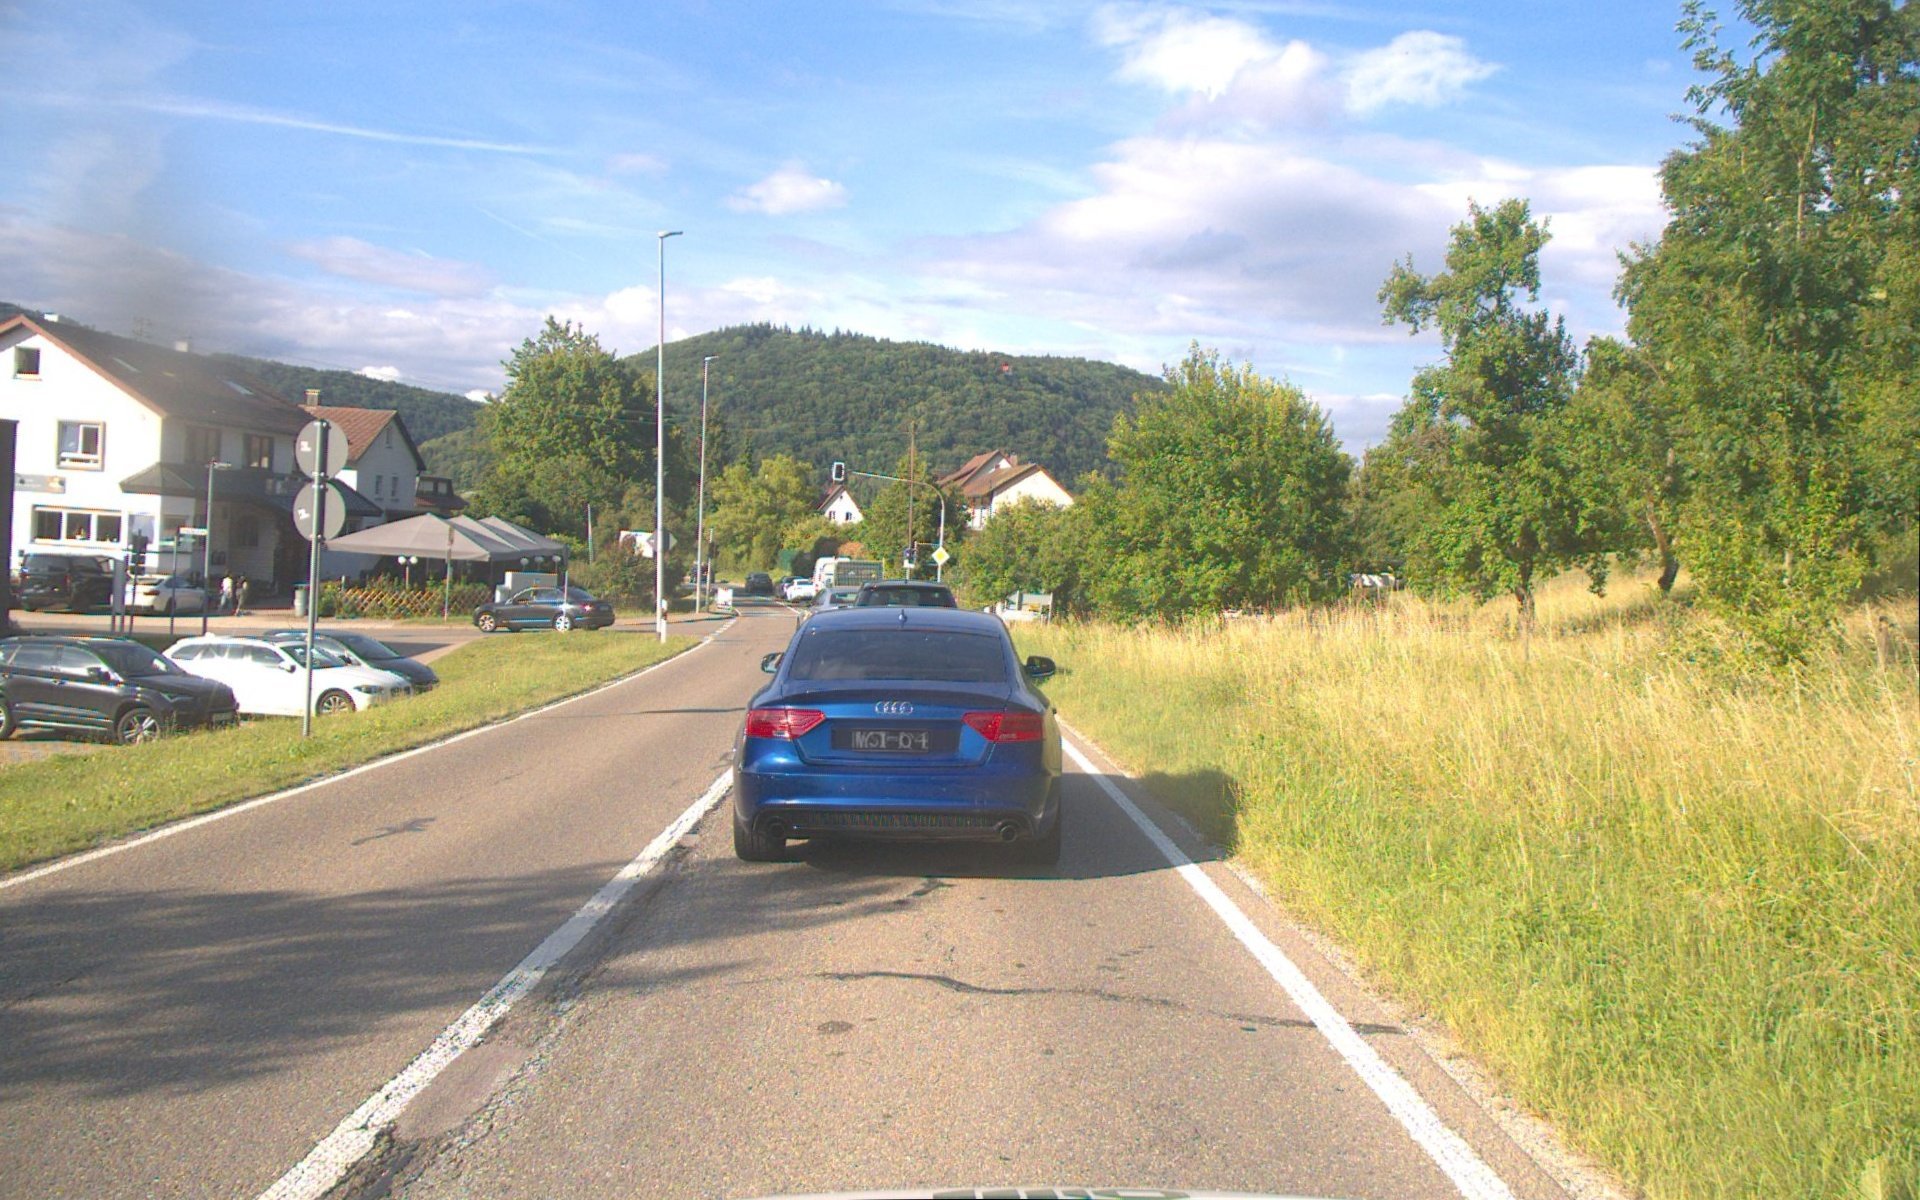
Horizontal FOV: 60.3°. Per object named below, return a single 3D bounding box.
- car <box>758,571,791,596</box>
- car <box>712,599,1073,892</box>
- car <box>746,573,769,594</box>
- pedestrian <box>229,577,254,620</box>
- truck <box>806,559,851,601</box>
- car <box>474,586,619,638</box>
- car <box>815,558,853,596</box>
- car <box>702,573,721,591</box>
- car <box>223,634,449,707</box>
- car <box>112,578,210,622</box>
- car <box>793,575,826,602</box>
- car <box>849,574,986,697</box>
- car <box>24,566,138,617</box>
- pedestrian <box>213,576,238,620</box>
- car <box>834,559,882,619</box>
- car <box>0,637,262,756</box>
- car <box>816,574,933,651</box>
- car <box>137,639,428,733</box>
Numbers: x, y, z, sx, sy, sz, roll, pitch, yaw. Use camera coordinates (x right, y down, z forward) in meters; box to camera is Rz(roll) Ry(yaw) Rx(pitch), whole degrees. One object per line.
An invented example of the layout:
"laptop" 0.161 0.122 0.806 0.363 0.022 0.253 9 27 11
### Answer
"car" -12.163 -1.065 108.288 1.669 1.516 3.514 1 0 -14
"car" -0.223 0.718 10.075 1.758 1.412 4.001 0 0 3
"car" -15.381 -1.206 125.420 1.666 1.516 3.520 1 0 -8
"pedestrian" -25.559 -0.057 58.812 0.596 1.529 0.589 1 -1 -1
"truck" -6.704 -0.973 83.701 1.667 1.988 5.908 1 0 -10
"car" -12.686 0.356 50.782 3.904 1.467 1.920 1 0 19
"car" -5.994 -1.053 78.166 1.712 1.668 3.996 1 0 -5
"car" -23.139 -1.679 154.106 1.597 1.604 3.670 1 0 -11
"car" -12.707 1.423 33.801 3.902 1.333 1.762 1 0 6
"car" -27.943 0.008 57.975 1.524 1.475 3.999 1 0 -1
"car" -9.042 -0.670 99.267 1.667 1.516 3.518 1 0 -10
"car" -0.565 0.506 24.948 1.709 1.668 4.001 1 0 3
"car" -30.443 -0.273 57.401 1.849 1.691 3.999 1 0 -1
"pedestrian" -26.215 -0.072 59.029 0.596 1.529 0.589 1 -1 -1
"car" -4.020 -0.414 64.536 1.712 2.234 3.996 1 0 -5
"car" -13.470 1.482 26.238 3.939 1.665 2.002 1 0 11
"car" -1.918 0.290 38.561 1.766 1.668 4.467 1 0 9
"car" -12.552 1.563 30.758 4.711 1.520 1.882 1 0 11
